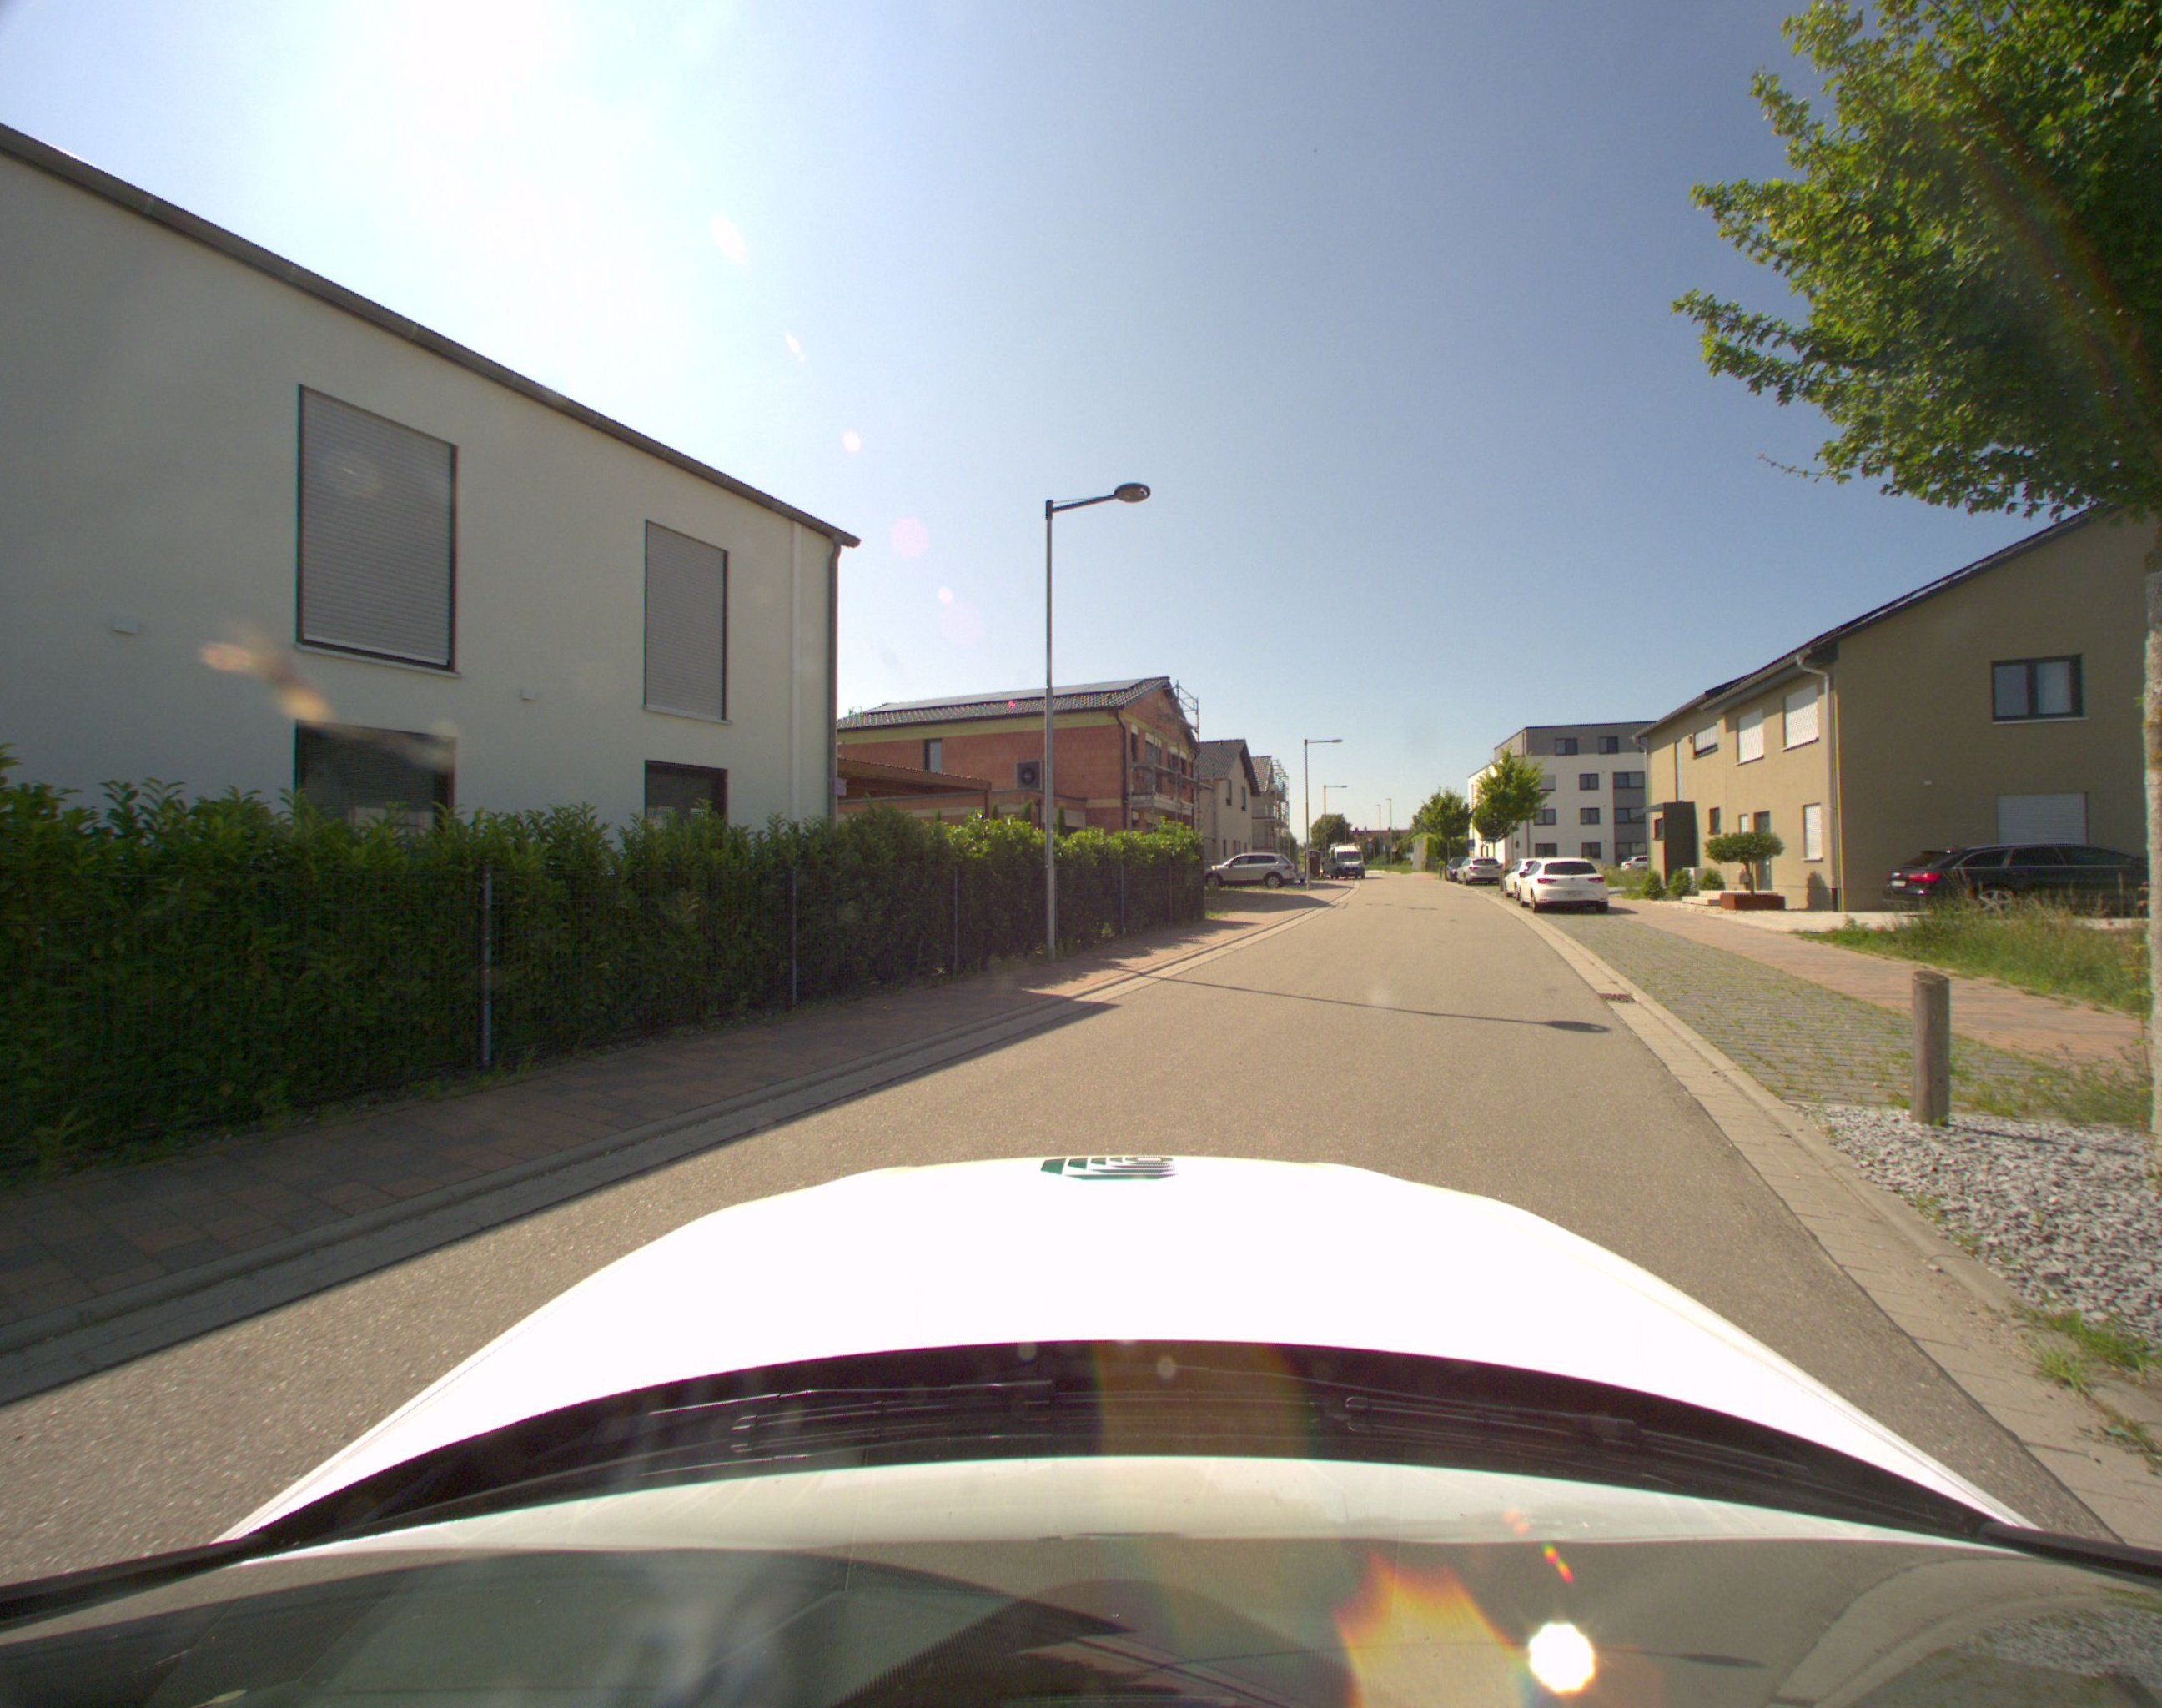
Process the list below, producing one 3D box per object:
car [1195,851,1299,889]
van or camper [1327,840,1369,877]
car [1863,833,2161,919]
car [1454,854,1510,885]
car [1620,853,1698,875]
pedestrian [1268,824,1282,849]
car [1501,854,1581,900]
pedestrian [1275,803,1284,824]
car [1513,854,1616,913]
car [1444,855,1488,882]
[{"bbox_3d":[7.597,0.734,37.208,4.389,1.612,2.009,-1,-1,18],"label":"car"},{"bbox_3d":[19.753,0.409,60.470,2.257,2.553,6.387,-1,-1,12],"label":"van or camper"},{"bbox_3d":[18.878,0.423,15.844,4.843,1.426,2.011,-4,-2,24],"label":"car"},{"bbox_3d":[21.492,0.793,43.853,1.903,1.511,5.319,-2,-1,18],"label":"car"},{"bbox_3d":[40.857,0.722,57.674,4.126,1.436,1.890,-1,-2,16],"label":"car"},{"bbox_3d":[13.777,-1.225,57.765,0.749,1.680,0.573,1,-3,-24],"label":"pedestrian"},{"bbox_3d":[16.094,0.769,28.712,1.764,1.426,4.537,-2,-1,21],"label":"car"},{"bbox_3d":[15.222,-3.110,62.331,0.557,1.500,0.752,-1,-3,19],"label":"pedestrian"},{"bbox_3d":[13.454,0.790,22.916,1.798,1.456,4.589,-3,-1,22],"label":"car"},{"bbox_3d":[23.395,0.835,49.647,1.902,1.470,5.165,-2,-1,20],"label":"car"}]
